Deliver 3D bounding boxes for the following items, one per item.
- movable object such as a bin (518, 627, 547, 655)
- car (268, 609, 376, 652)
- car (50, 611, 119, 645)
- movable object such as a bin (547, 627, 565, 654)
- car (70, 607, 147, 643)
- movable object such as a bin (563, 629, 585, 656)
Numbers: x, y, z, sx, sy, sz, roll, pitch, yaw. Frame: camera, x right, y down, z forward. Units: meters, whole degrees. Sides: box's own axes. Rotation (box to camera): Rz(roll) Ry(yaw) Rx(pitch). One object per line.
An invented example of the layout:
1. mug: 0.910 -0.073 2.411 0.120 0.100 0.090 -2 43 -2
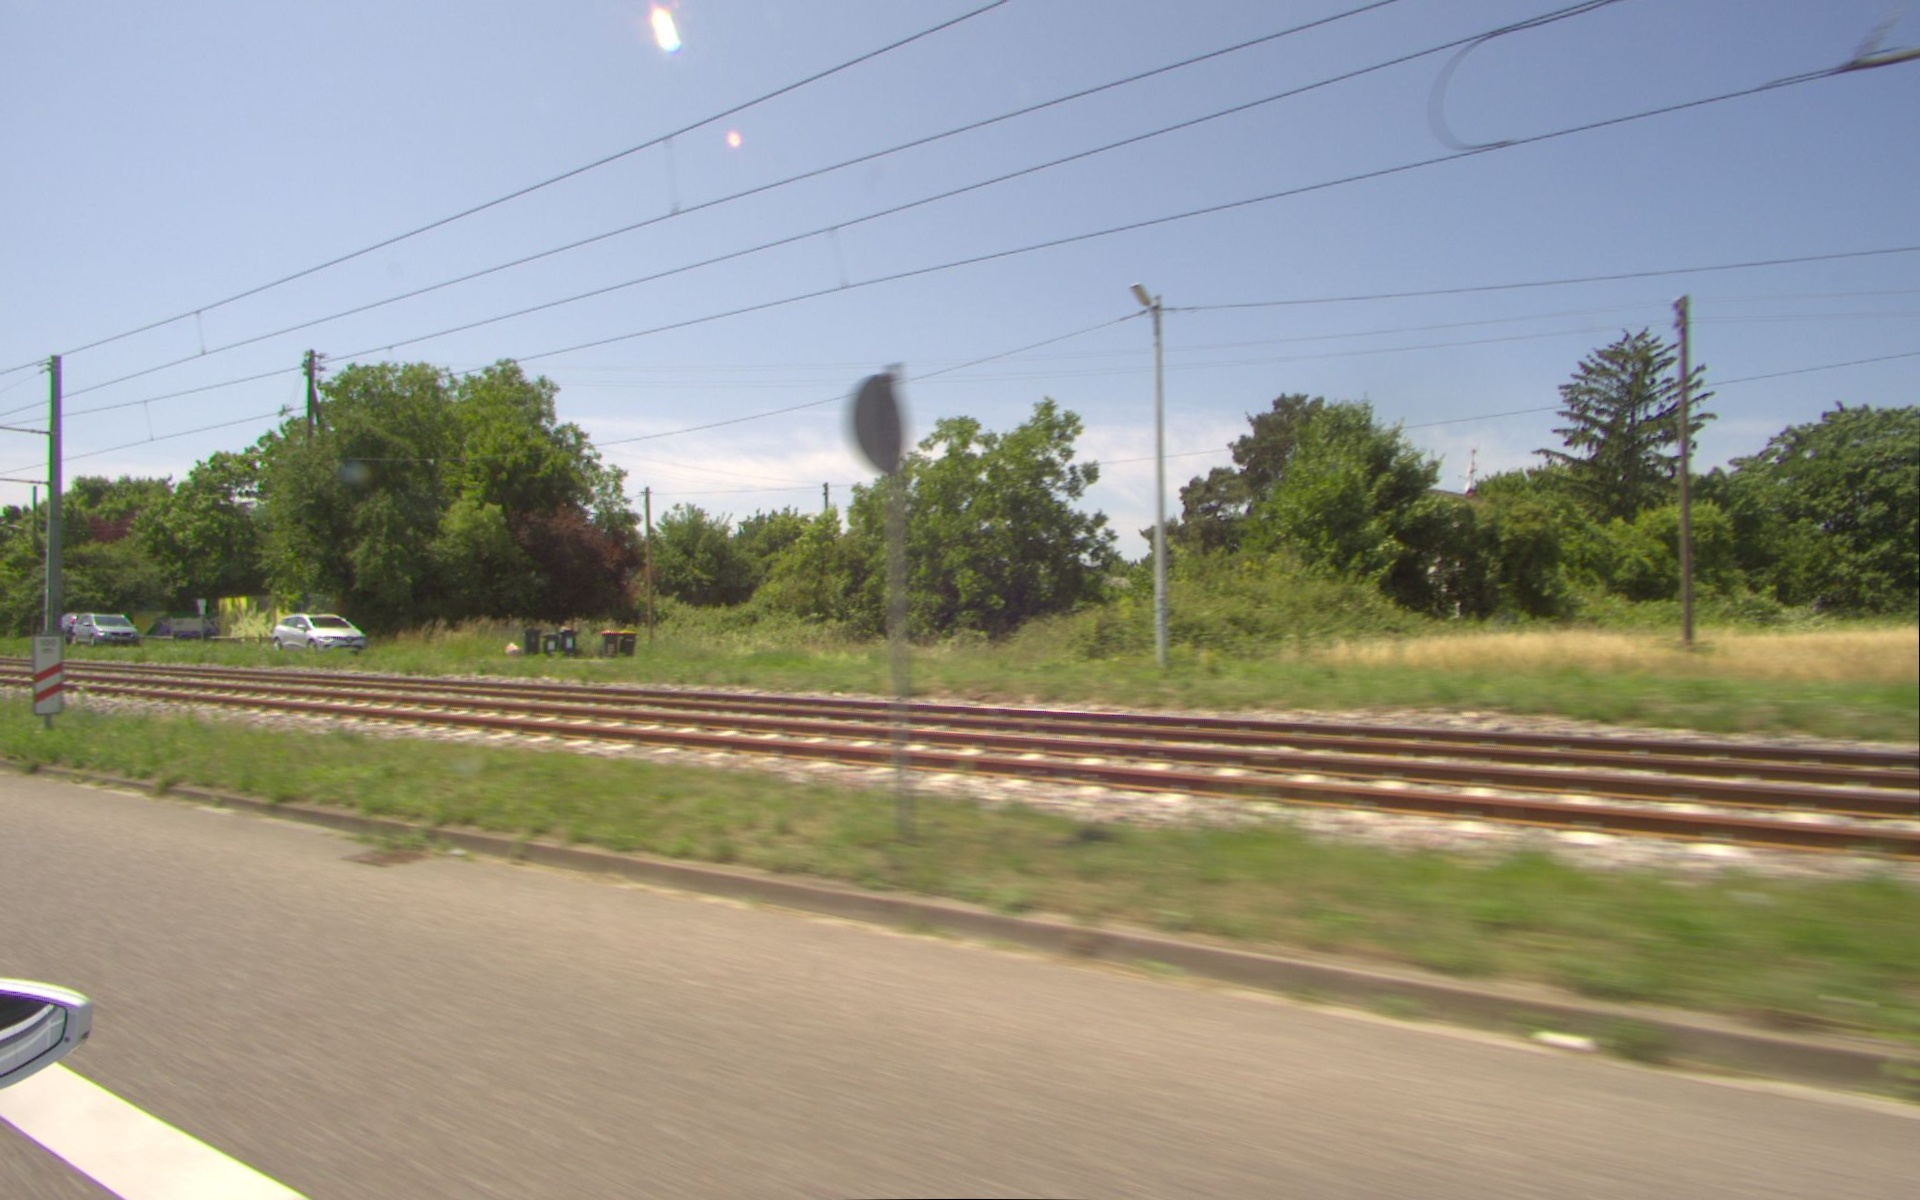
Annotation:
1. movable object such as a bin: -14.820 1.428 34.711 0.793 0.946 0.775 0 -2 -35
2. car: -22.834 1.107 35.774 4.489 1.432 1.676 -2 -2 35
3. car: -46.348 1.505 52.980 4.754 1.677 1.822 -2 -2 37
4. movable object such as a bin: -14.402 1.460 35.712 0.443 0.946 0.798 0 -2 -35
5. car: -41.694 1.245 49.012 4.647 1.645 1.673 -2 -2 34
6. movable object such as a bin: -13.878 1.534 36.000 0.578 0.946 0.823 0 -2 -35
